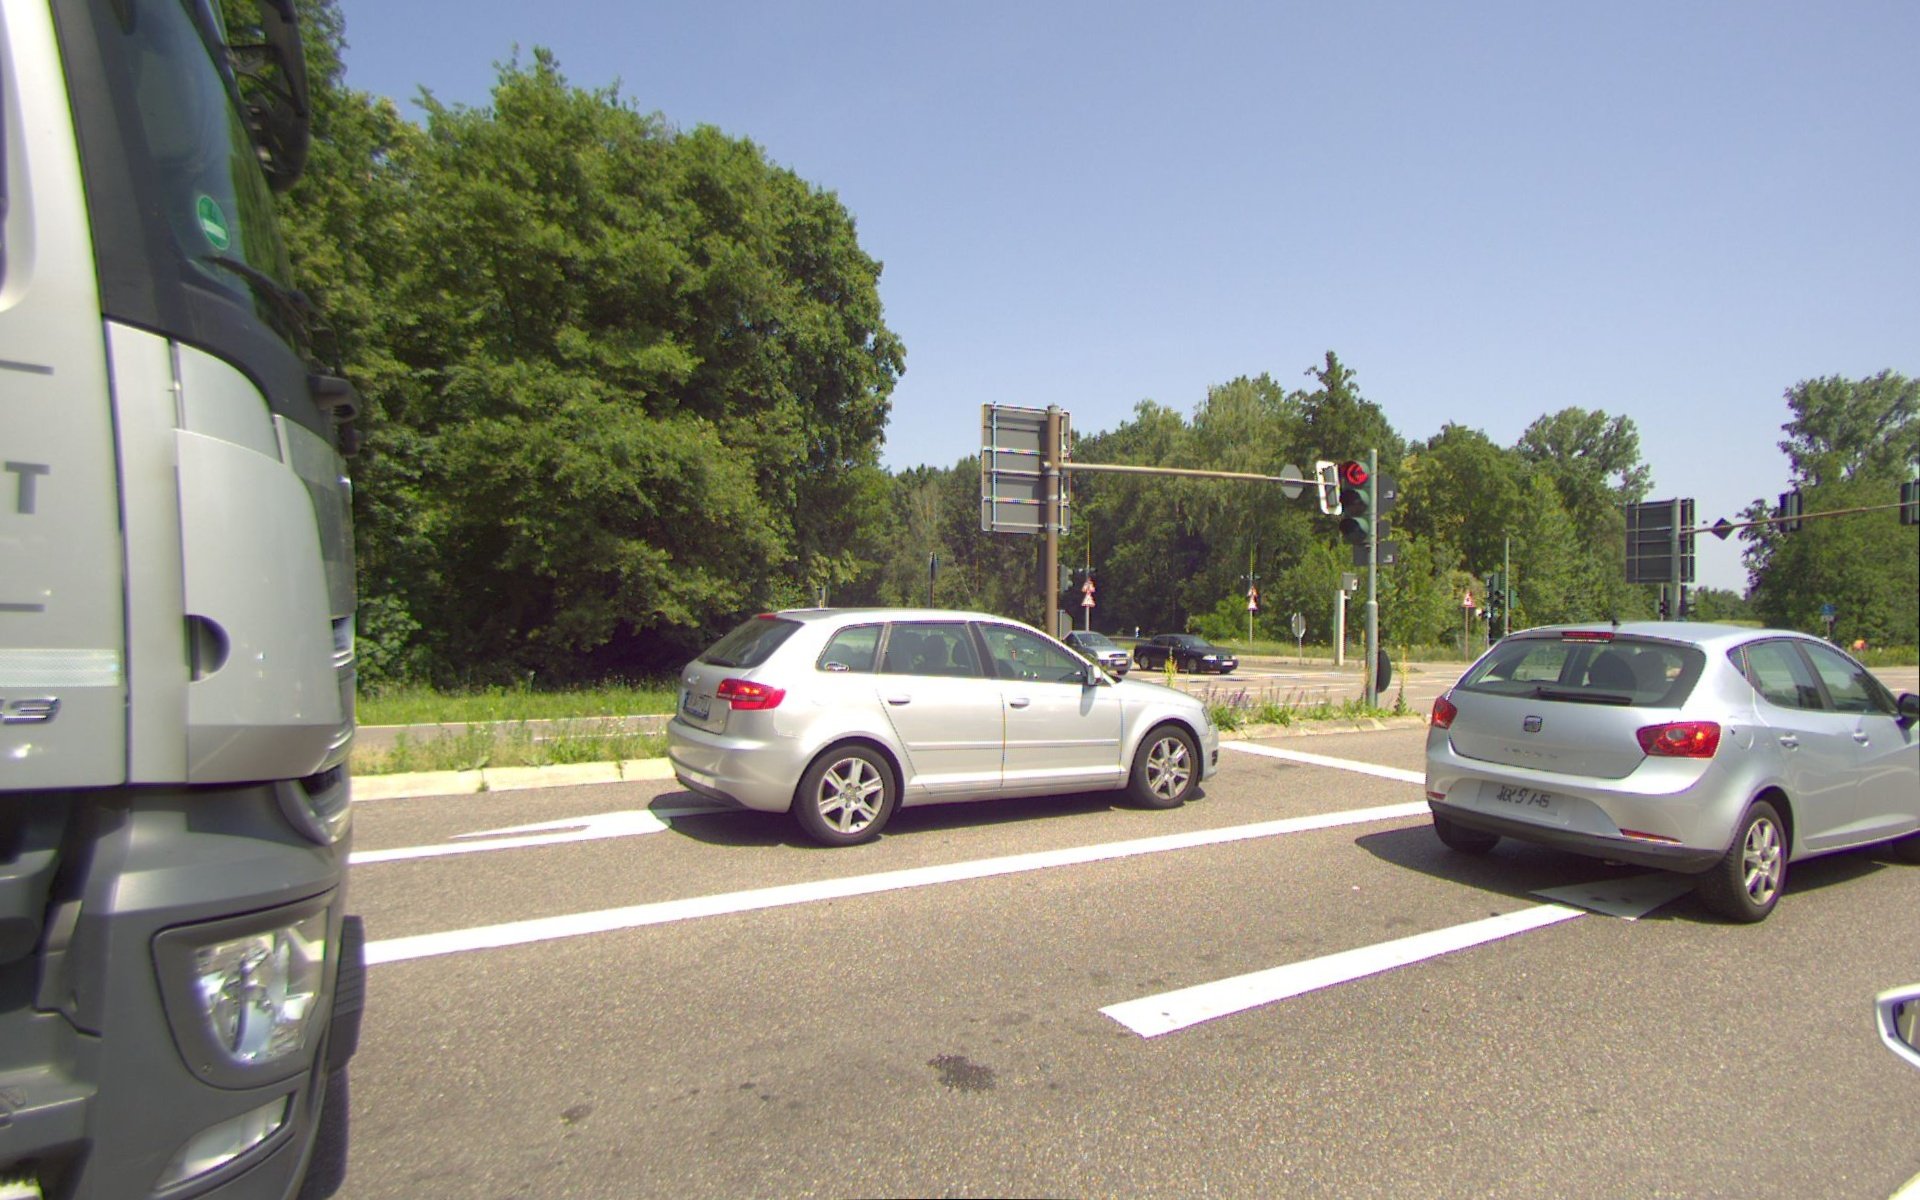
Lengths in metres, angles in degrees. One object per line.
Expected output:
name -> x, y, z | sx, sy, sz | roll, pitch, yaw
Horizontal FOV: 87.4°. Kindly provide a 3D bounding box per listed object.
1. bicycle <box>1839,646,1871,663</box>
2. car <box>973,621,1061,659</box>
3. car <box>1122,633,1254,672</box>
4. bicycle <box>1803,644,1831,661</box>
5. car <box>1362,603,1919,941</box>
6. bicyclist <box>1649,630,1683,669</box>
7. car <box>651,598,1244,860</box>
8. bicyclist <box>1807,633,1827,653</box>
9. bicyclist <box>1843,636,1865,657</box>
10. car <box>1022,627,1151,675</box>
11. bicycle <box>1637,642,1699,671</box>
bicycle -> 53.544, 3.252, 60.108 | 1.773, 1.018, 0.675 | 1, -2, -21
car -> 2.557, 1.835, 46.419 | 1.974, 1.657, 4.788 | 1, -2, -27
car -> 8.260, 1.872, 36.896 | 2.081, 1.307, 4.783 | 1, -2, -30
bicycle -> 51.832, 3.165, 60.733 | 1.531, 1.019, 0.604 | 1, -2, -20
car -> 4.379, 0.789, 6.049 | 3.783, 1.449, 1.657 | 1, 0, -30
bicyclist -> 27.321, 1.902, 38.868 | 0.701, 1.479, 0.927 | 0, -1, 7
car -> 0.005, 0.731, 7.270 | 3.971, 1.410, 1.755 | 1, 0, -33
bicyclist -> 51.846, 2.624, 60.769 | 0.583, 1.211, 0.735 | 1, -2, -19
bicyclist -> 53.496, 2.770, 60.096 | 0.583, 1.211, 0.756 | 1, -2, -20
car -> 4.428, 1.756, 35.924 | 2.105, 1.588, 4.782 | 1, -2, -30
bicycle -> 27.360, 2.183, 38.836 | 1.831, 1.077, 0.725 | 0, -1, 7
